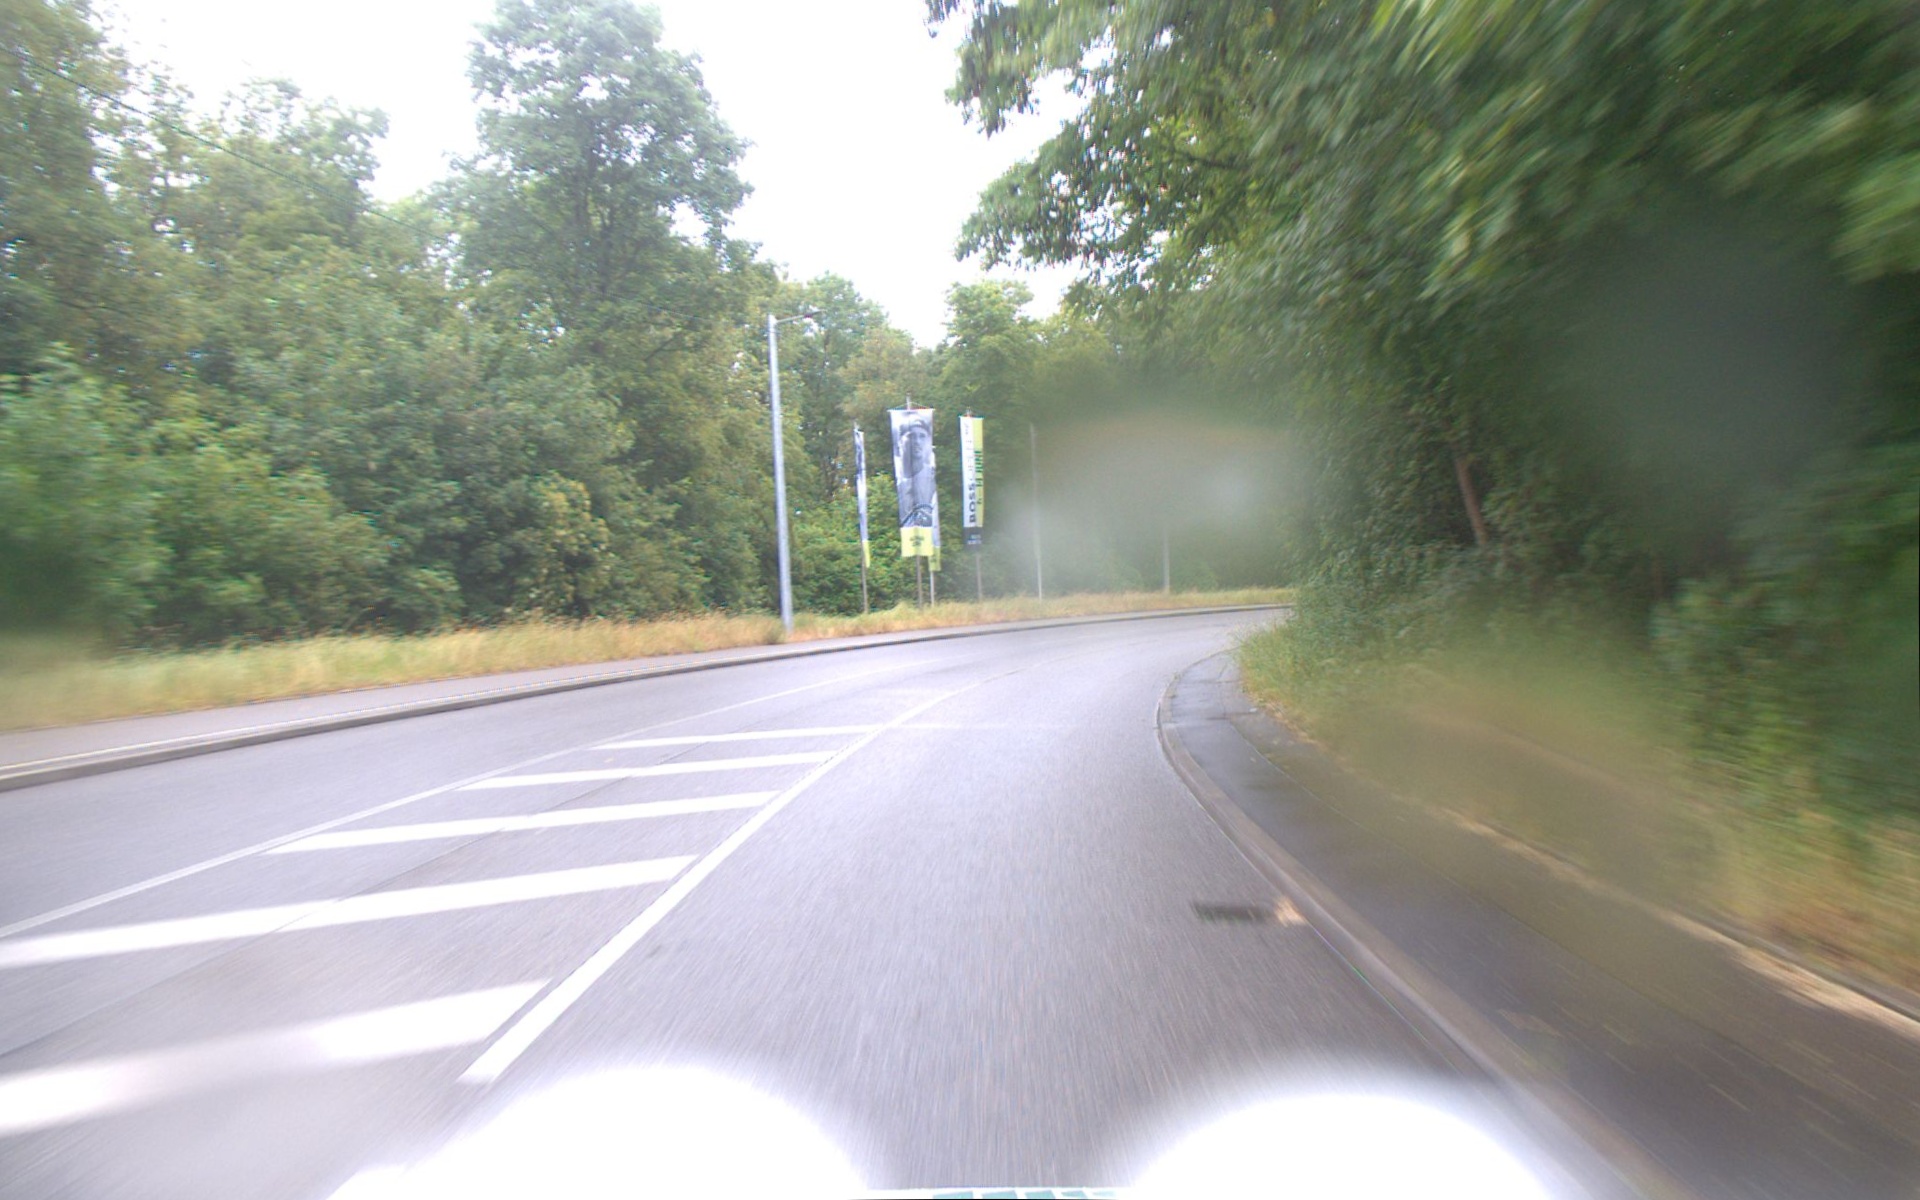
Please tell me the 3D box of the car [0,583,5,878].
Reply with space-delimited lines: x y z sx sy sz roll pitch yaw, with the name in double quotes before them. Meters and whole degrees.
"car" -5.317 0.662 5.862 1.561 1.503 3.793 1 0 2
